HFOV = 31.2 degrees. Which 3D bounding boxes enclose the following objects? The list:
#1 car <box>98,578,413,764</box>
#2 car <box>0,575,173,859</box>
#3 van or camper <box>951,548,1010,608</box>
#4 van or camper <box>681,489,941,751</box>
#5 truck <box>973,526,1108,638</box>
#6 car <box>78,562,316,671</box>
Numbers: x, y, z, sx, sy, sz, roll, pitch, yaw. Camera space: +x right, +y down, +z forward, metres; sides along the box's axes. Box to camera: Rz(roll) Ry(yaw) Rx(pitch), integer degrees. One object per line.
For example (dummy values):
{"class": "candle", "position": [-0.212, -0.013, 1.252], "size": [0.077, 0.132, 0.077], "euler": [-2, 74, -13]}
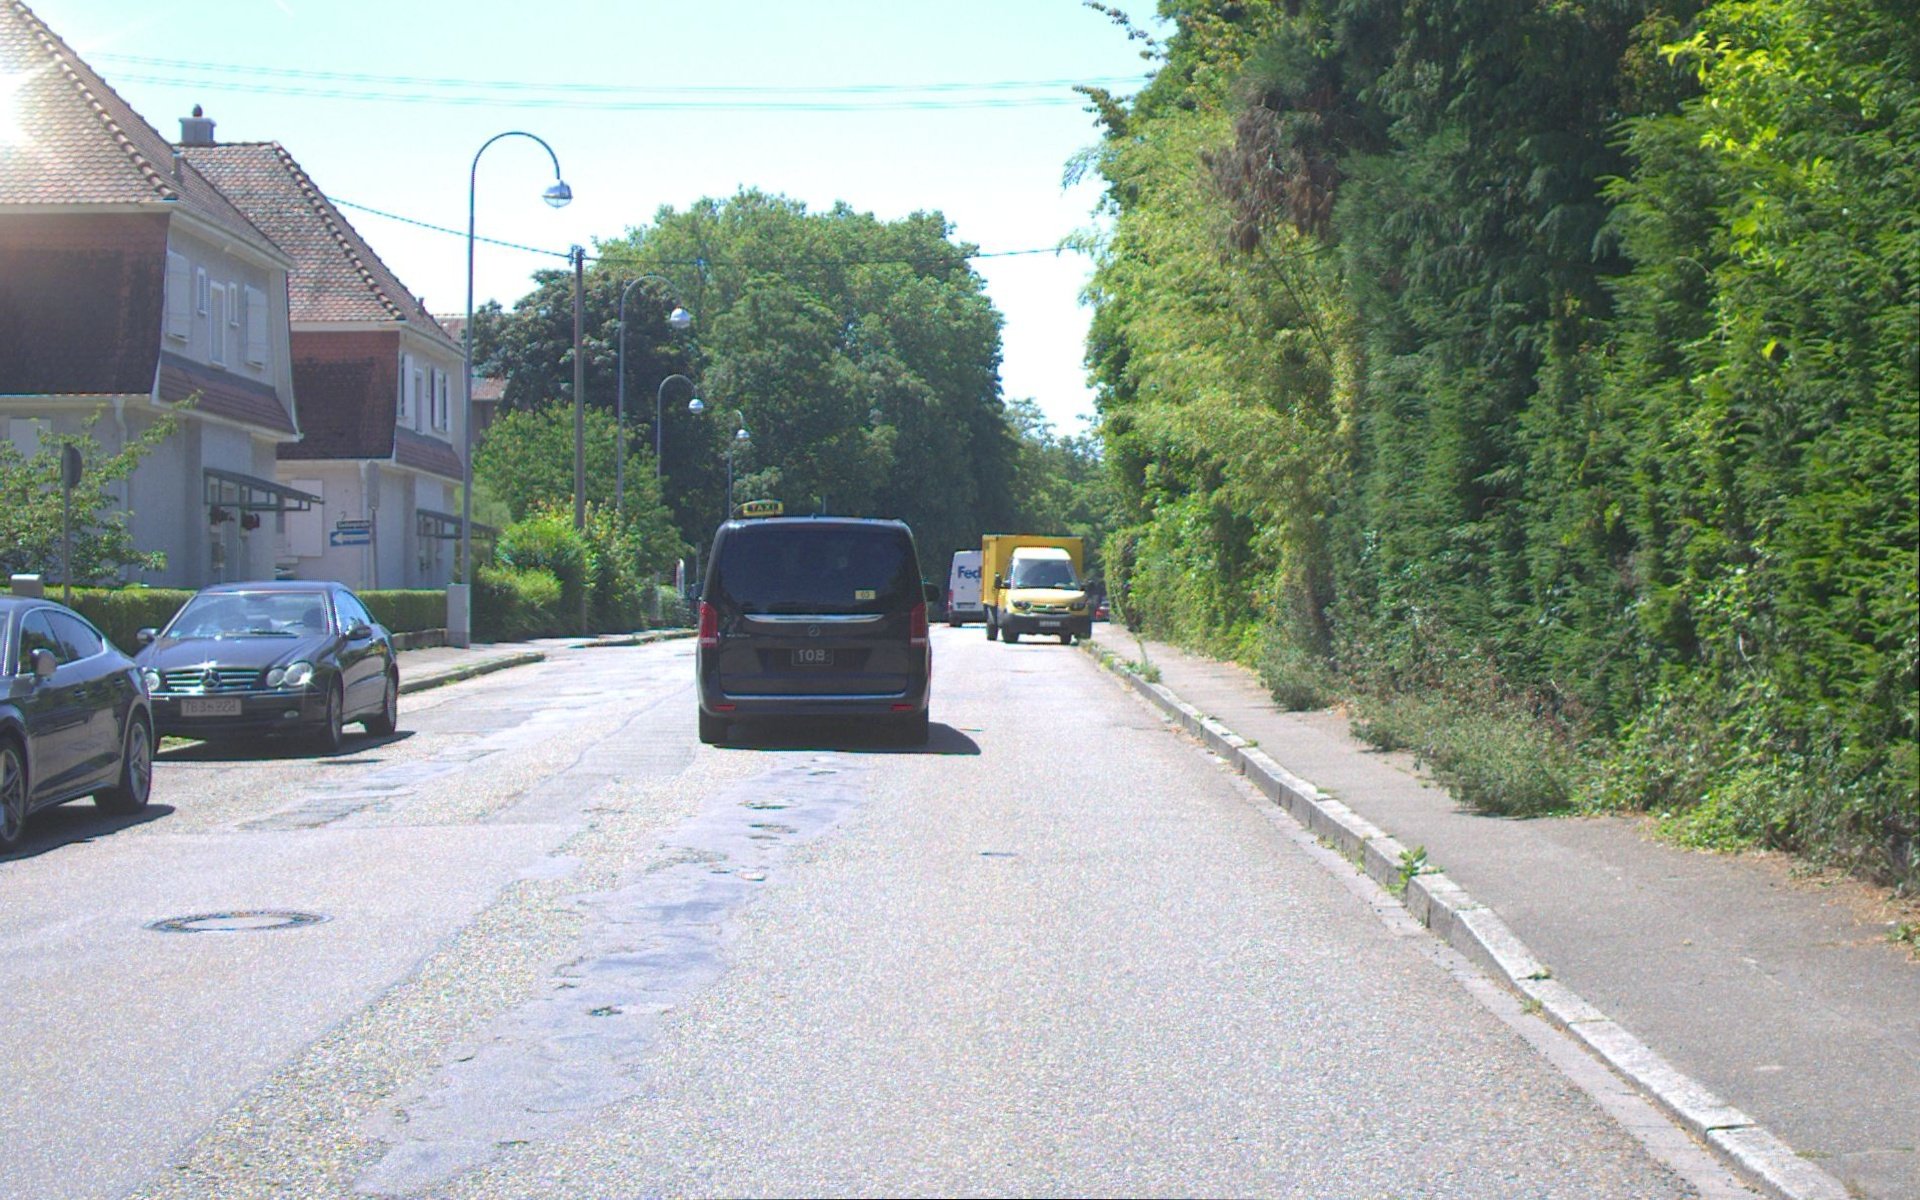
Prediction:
{"class": "car", "position": [-5.850, 0.538, 29.033], "size": [1.666, 1.381, 4.380], "euler": [-2, 1, 1]}
{"class": "car", "position": [-5.909, 0.610, 19.865], "size": [1.666, 1.487, 4.466], "euler": [0, 1, 0]}
{"class": "van or camper", "position": [0.719, -0.743, 117.516], "size": [1.993, 2.007, 4.000], "euler": [0, 0, 1]}
{"class": "van or camper", "position": [-1.171, 0.144, 29.376], "size": [1.903, 2.007, 5.270], "euler": [1, 0, 1]}
{"class": "truck", "position": [1.628, -0.369, 72.207], "size": [2.355, 2.251, 6.092], "euler": [0, 0, -3]}
{"class": "car", "position": [-13.815, 0.279, 62.383], "size": [3.867, 1.898, 1.880], "euler": [-1, 0, 0]}
